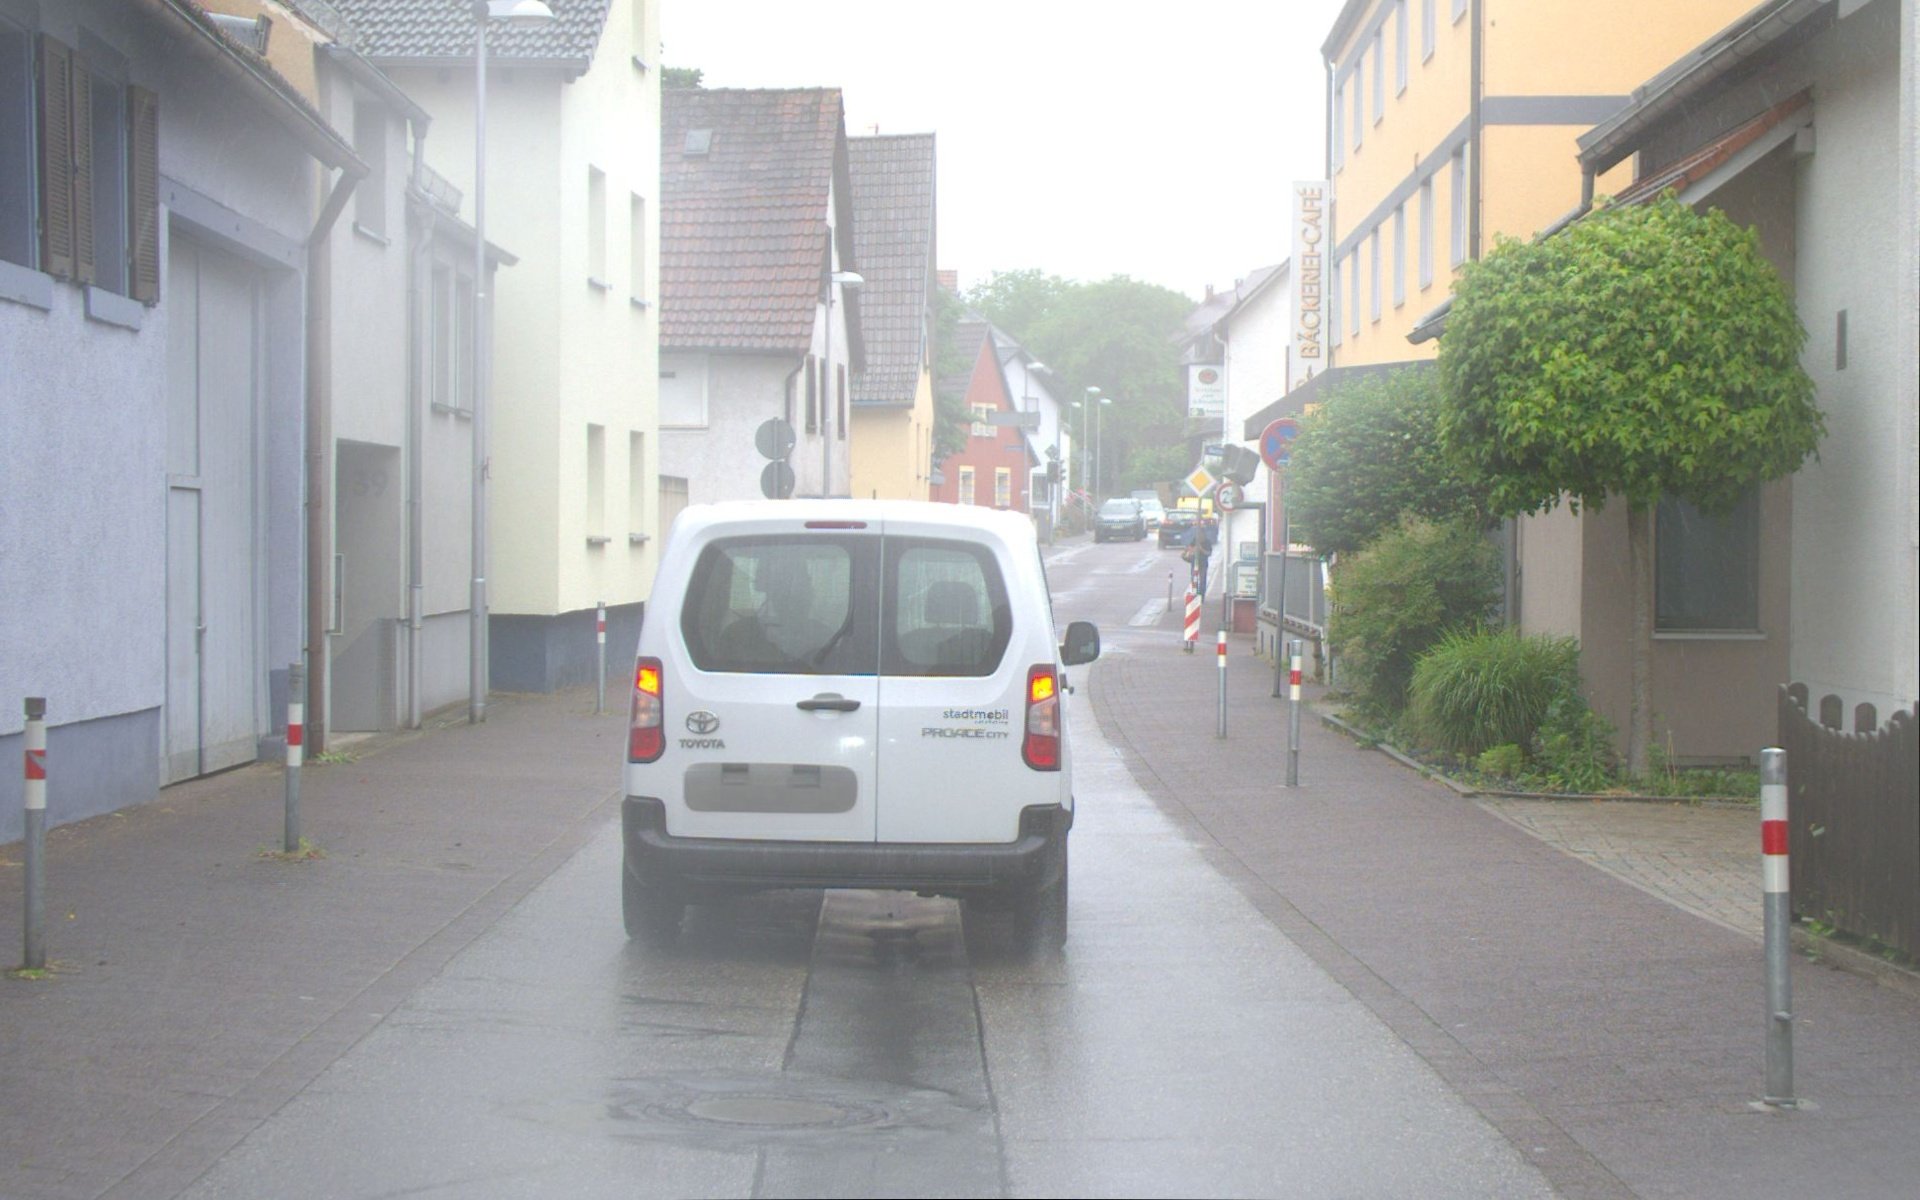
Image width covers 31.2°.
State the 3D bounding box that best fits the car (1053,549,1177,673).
[{"bbox_3d":[2.639,0.158,57.874,1.994,2.007,4.000,-1,1,4],"label":"car"}]

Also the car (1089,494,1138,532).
[{"bbox_3d":[6.197,-3.498,138.225,1.589,1.436,3.765,2,1,8],"label":"car"}]

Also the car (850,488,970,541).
[{"bbox_3d":[-1.680,-2.857,114.492,3.419,1.554,2.001,-4,3,-22],"label":"car"}]

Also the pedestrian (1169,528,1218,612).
[{"bbox_3d":[5.305,-0.693,78.109,1.050,1.886,0.877,-1,0,1],"label":"pedestrian"}]

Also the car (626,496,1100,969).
[{"bbox_3d":[-0.360,0.478,15.005,1.775,1.774,4.000,-1,1,0],"label":"car"}]
